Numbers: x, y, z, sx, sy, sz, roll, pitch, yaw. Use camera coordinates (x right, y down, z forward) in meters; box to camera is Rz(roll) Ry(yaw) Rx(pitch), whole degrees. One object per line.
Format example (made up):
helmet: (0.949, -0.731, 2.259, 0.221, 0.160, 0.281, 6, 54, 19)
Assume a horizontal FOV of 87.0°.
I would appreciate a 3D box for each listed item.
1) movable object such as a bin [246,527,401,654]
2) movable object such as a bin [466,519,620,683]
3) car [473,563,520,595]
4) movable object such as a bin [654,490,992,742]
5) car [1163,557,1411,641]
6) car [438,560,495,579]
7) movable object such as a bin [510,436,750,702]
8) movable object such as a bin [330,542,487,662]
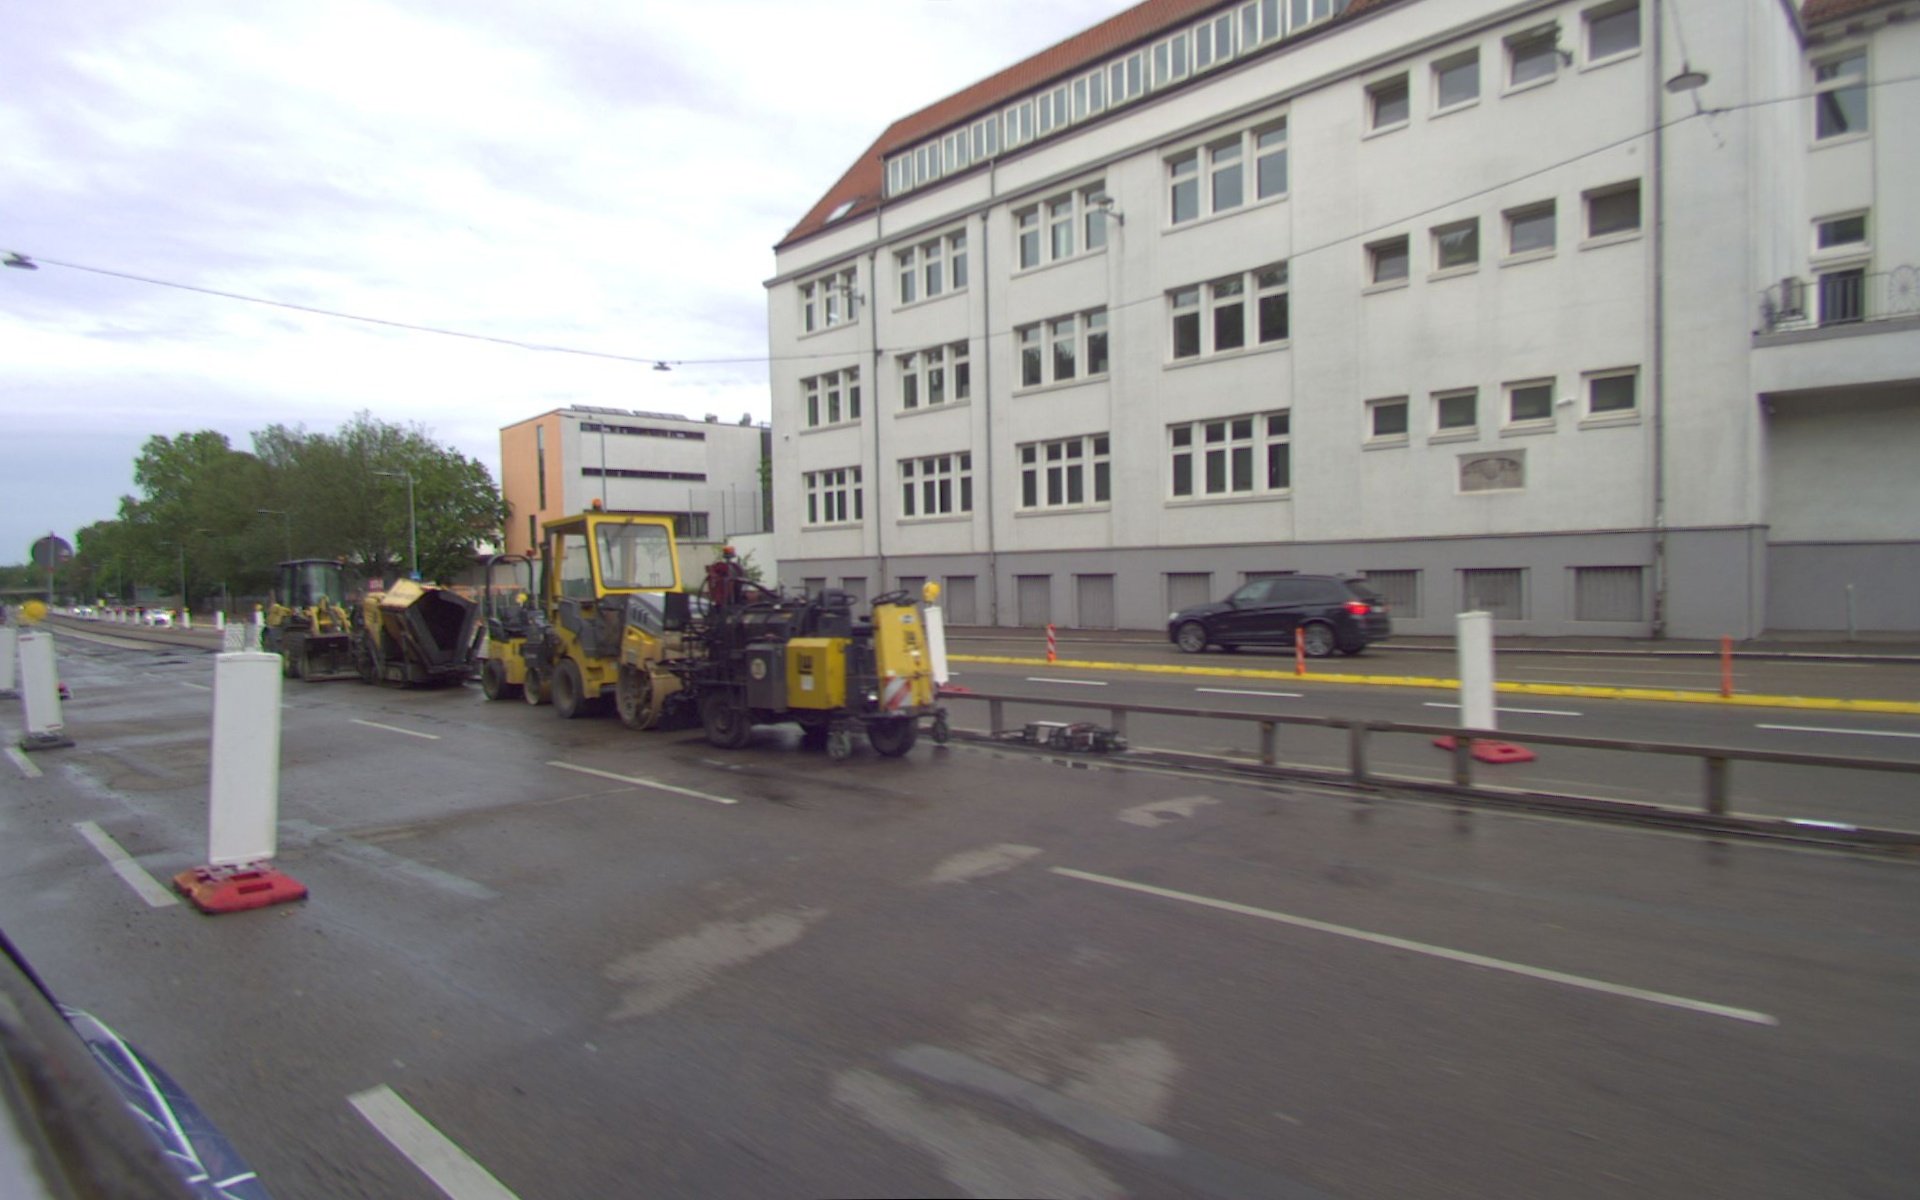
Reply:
movable object such as a bin: (-14.946, -0.206, 23.619, 1.880, 2.628, 5.386, -2, 1, -45)
movable object such as a bin: (-6.718, 0.022, 16.253, 2.405, 2.419, 1.395, -1, 0, 42)
car: (-32.686, -1.462, 71.331, 4.002, 2.186, 1.592, 0, 2, 45)
movable object such as a bin: (-1.497, 0.146, 10.444, 3.349, 2.166, 1.697, -1, 0, 42)
car: (6.714, -0.031, 21.099, 4.556, 1.555, 1.814, -1, 2, 42)
car: (-43.301, -2.650, 88.859, 3.961, 1.539, 2.003, -2, 2, -6)
movable object such as a bin: (-4.449, -0.346, 13.361, 3.725, 3.031, 1.449, -1, 0, 44)
movable object such as a bin: (-11.013, 0.024, 20.038, 1.347, 2.105, 5.033, -2, 1, -45)
